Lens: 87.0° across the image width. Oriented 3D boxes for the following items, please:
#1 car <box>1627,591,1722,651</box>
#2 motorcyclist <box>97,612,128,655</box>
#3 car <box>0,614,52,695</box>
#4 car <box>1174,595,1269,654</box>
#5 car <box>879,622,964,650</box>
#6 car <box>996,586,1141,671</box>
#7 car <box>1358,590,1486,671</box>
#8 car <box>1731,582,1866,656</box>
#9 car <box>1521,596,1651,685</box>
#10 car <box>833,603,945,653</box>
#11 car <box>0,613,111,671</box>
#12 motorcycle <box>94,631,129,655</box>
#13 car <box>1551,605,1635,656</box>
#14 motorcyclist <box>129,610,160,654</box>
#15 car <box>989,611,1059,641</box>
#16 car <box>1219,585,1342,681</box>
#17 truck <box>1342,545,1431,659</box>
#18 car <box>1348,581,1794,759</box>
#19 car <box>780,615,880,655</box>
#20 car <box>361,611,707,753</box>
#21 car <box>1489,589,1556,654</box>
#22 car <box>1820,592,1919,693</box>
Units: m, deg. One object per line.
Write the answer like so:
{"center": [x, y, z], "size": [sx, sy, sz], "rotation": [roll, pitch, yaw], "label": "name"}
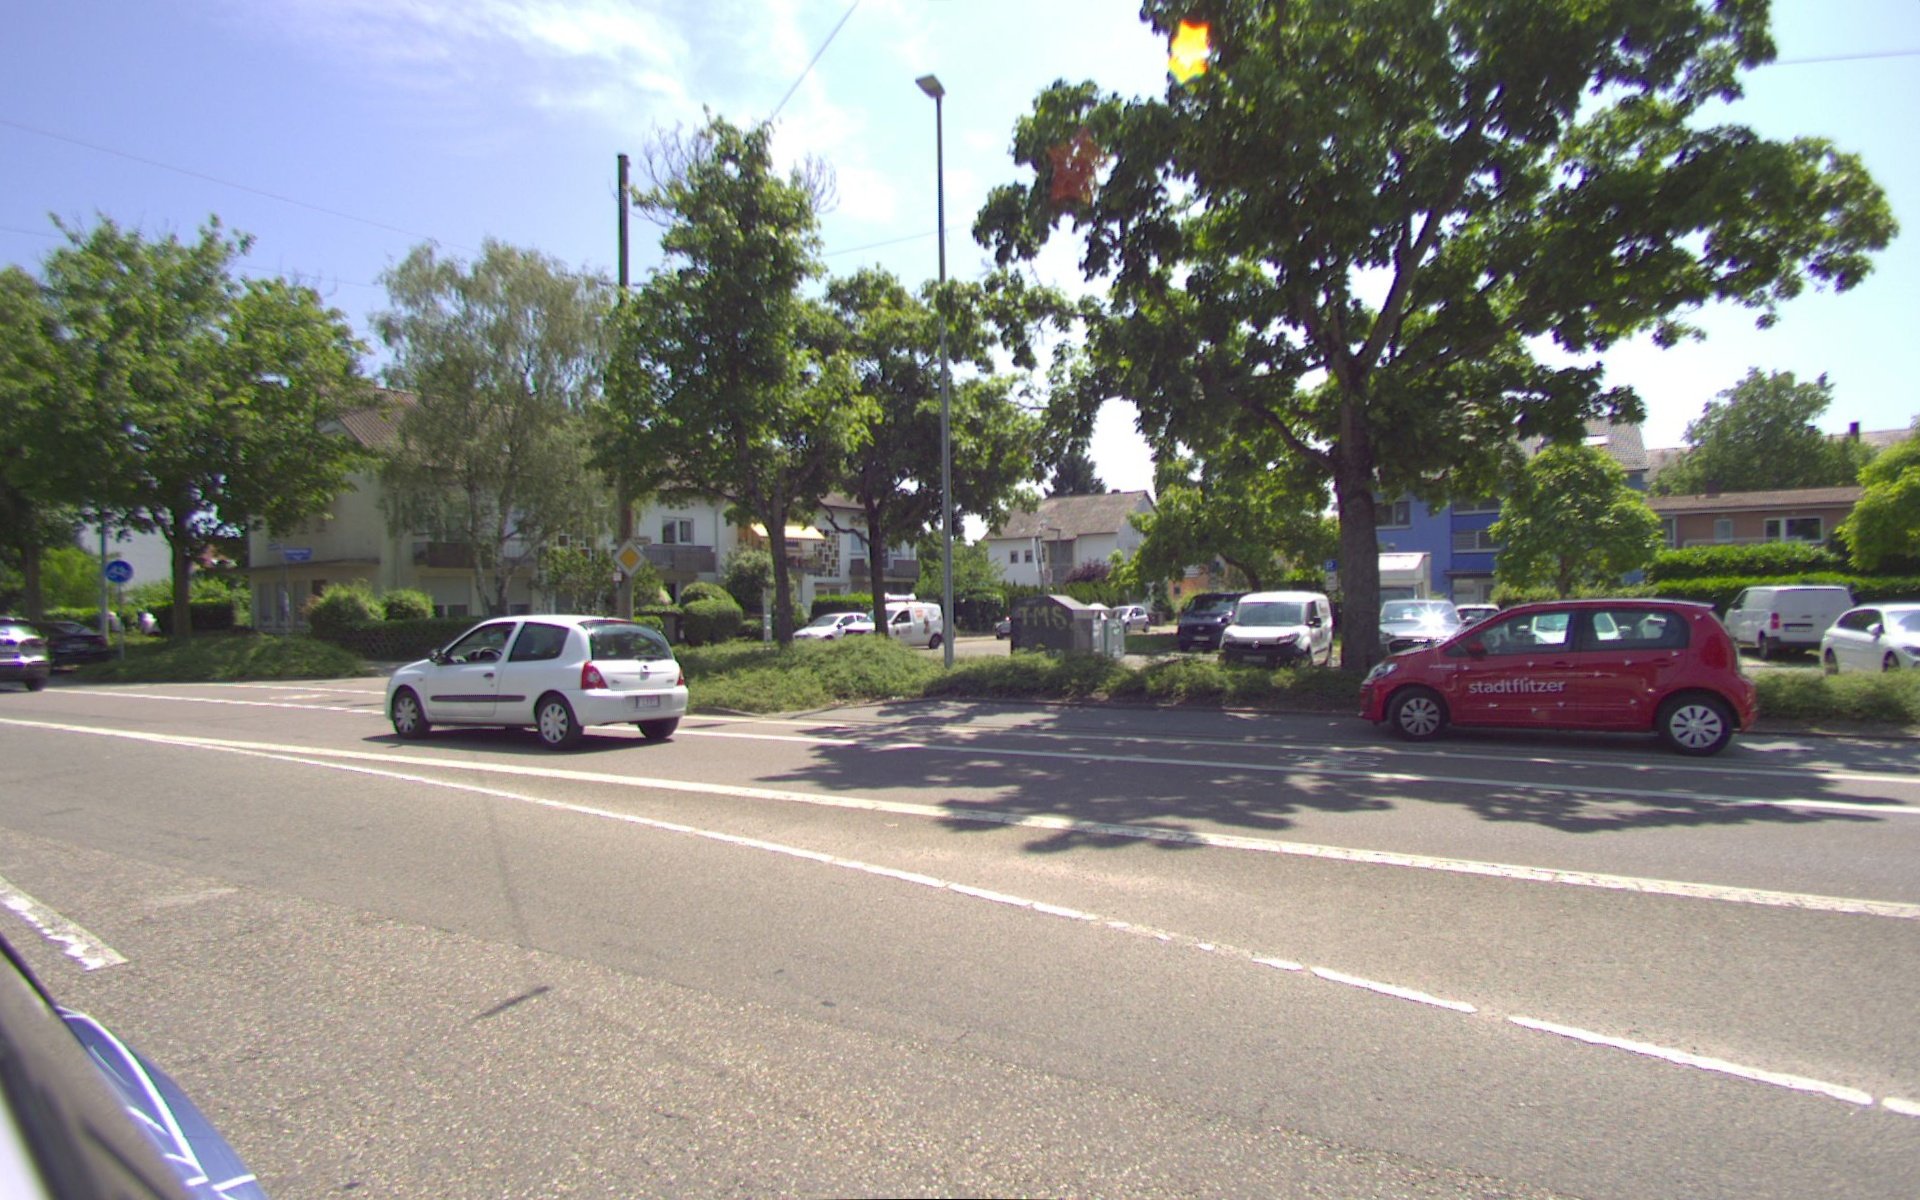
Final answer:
{"center": [20.667, 0.573, 29.410], "size": [1.725, 1.587, 3.724], "rotation": [-1, 0, 28], "label": "car"}
{"center": [-30.996, 1.225, 37.010], "size": [0.722, 1.514, 0.582], "rotation": [-1, 2, 30], "label": "motorcyclist"}
{"center": [-20.477, 1.095, 20.693], "size": [3.696, 1.587, 1.726], "rotation": [-1, -1, 29], "label": "car"}
{"center": [9.099, 0.793, 34.952], "size": [1.933, 1.834, 4.673], "rotation": [-1, 0, 31], "label": "car"}
{"center": [-1.570, 1.496, 42.460], "size": [1.544, 1.000, 3.701], "rotation": [-1, 0, 38], "label": "car"}
{"center": [2.762, 0.656, 24.773], "size": [2.051, 1.871, 4.420], "rotation": [-1, -1, 28], "label": "car"}
{"center": [9.157, 0.564, 20.164], "size": [2.069, 1.414, 4.175], "rotation": [-1, -1, 24], "label": "car"}
{"center": [22.473, 0.450, 27.312], "size": [1.961, 1.834, 4.102], "rotation": [-1, 0, 28], "label": "car"}
{"center": [12.033, 0.714, 19.615], "size": [1.925, 1.520, 4.093], "rotation": [-1, -1, 30], "label": "car"}
{"center": [-2.527, 0.978, 37.054], "size": [1.739, 1.719, 4.181], "rotation": [-1, -1, 38], "label": "car"}
{"center": [-26.289, 1.158, 28.494], "size": [4.784, 1.467, 1.884], "rotation": [-1, 1, 26], "label": "car"}
{"center": [-31.085, 1.583, 37.083], "size": [1.365, 0.831, 0.522], "rotation": [-1, 2, 30], "label": "motorcycle"}
{"center": [18.810, 0.858, 30.230], "size": [1.809, 1.343, 4.102], "rotation": [-1, 0, 28], "label": "car"}
{"center": [-28.717, 1.113, 35.620], "size": [0.659, 1.514, 0.582], "rotation": [-1, 2, 30], "label": "motorcyclist"}
{"center": [3.191, 1.259, 49.864], "size": [1.543, 1.404, 3.859], "rotation": [-1, -1, 37], "label": "car"}
{"center": [6.944, 0.650, 21.646], "size": [1.666, 1.849, 4.238], "rotation": [-1, -1, 29], "label": "car"}
{"center": [13.842, 0.043, 32.552], "size": [2.140, 3.252, 6.937], "rotation": [-1, 0, 27], "label": "truck"}
{"center": [6.174, 0.622, 10.601], "size": [3.713, 1.557, 1.660], "rotation": [-1, 1, 31], "label": "car"}
{"center": [-4.923, 1.317, 38.814], "size": [1.543, 1.404, 3.859], "rotation": [-1, -1, 37], "label": "car"}
{"center": [-4.882, 0.844, 11.529], "size": [3.794, 1.387, 1.637], "rotation": [-1, -2, 29], "label": "car"}
{"center": [17.244, 0.614, 31.163], "size": [1.639, 1.834, 4.102], "rotation": [-1, 0, 28], "label": "car"}
{"center": [16.178, 0.614, 16.601], "size": [2.048, 1.500, 4.733], "rotation": [-1, -1, 27], "label": "car"}
